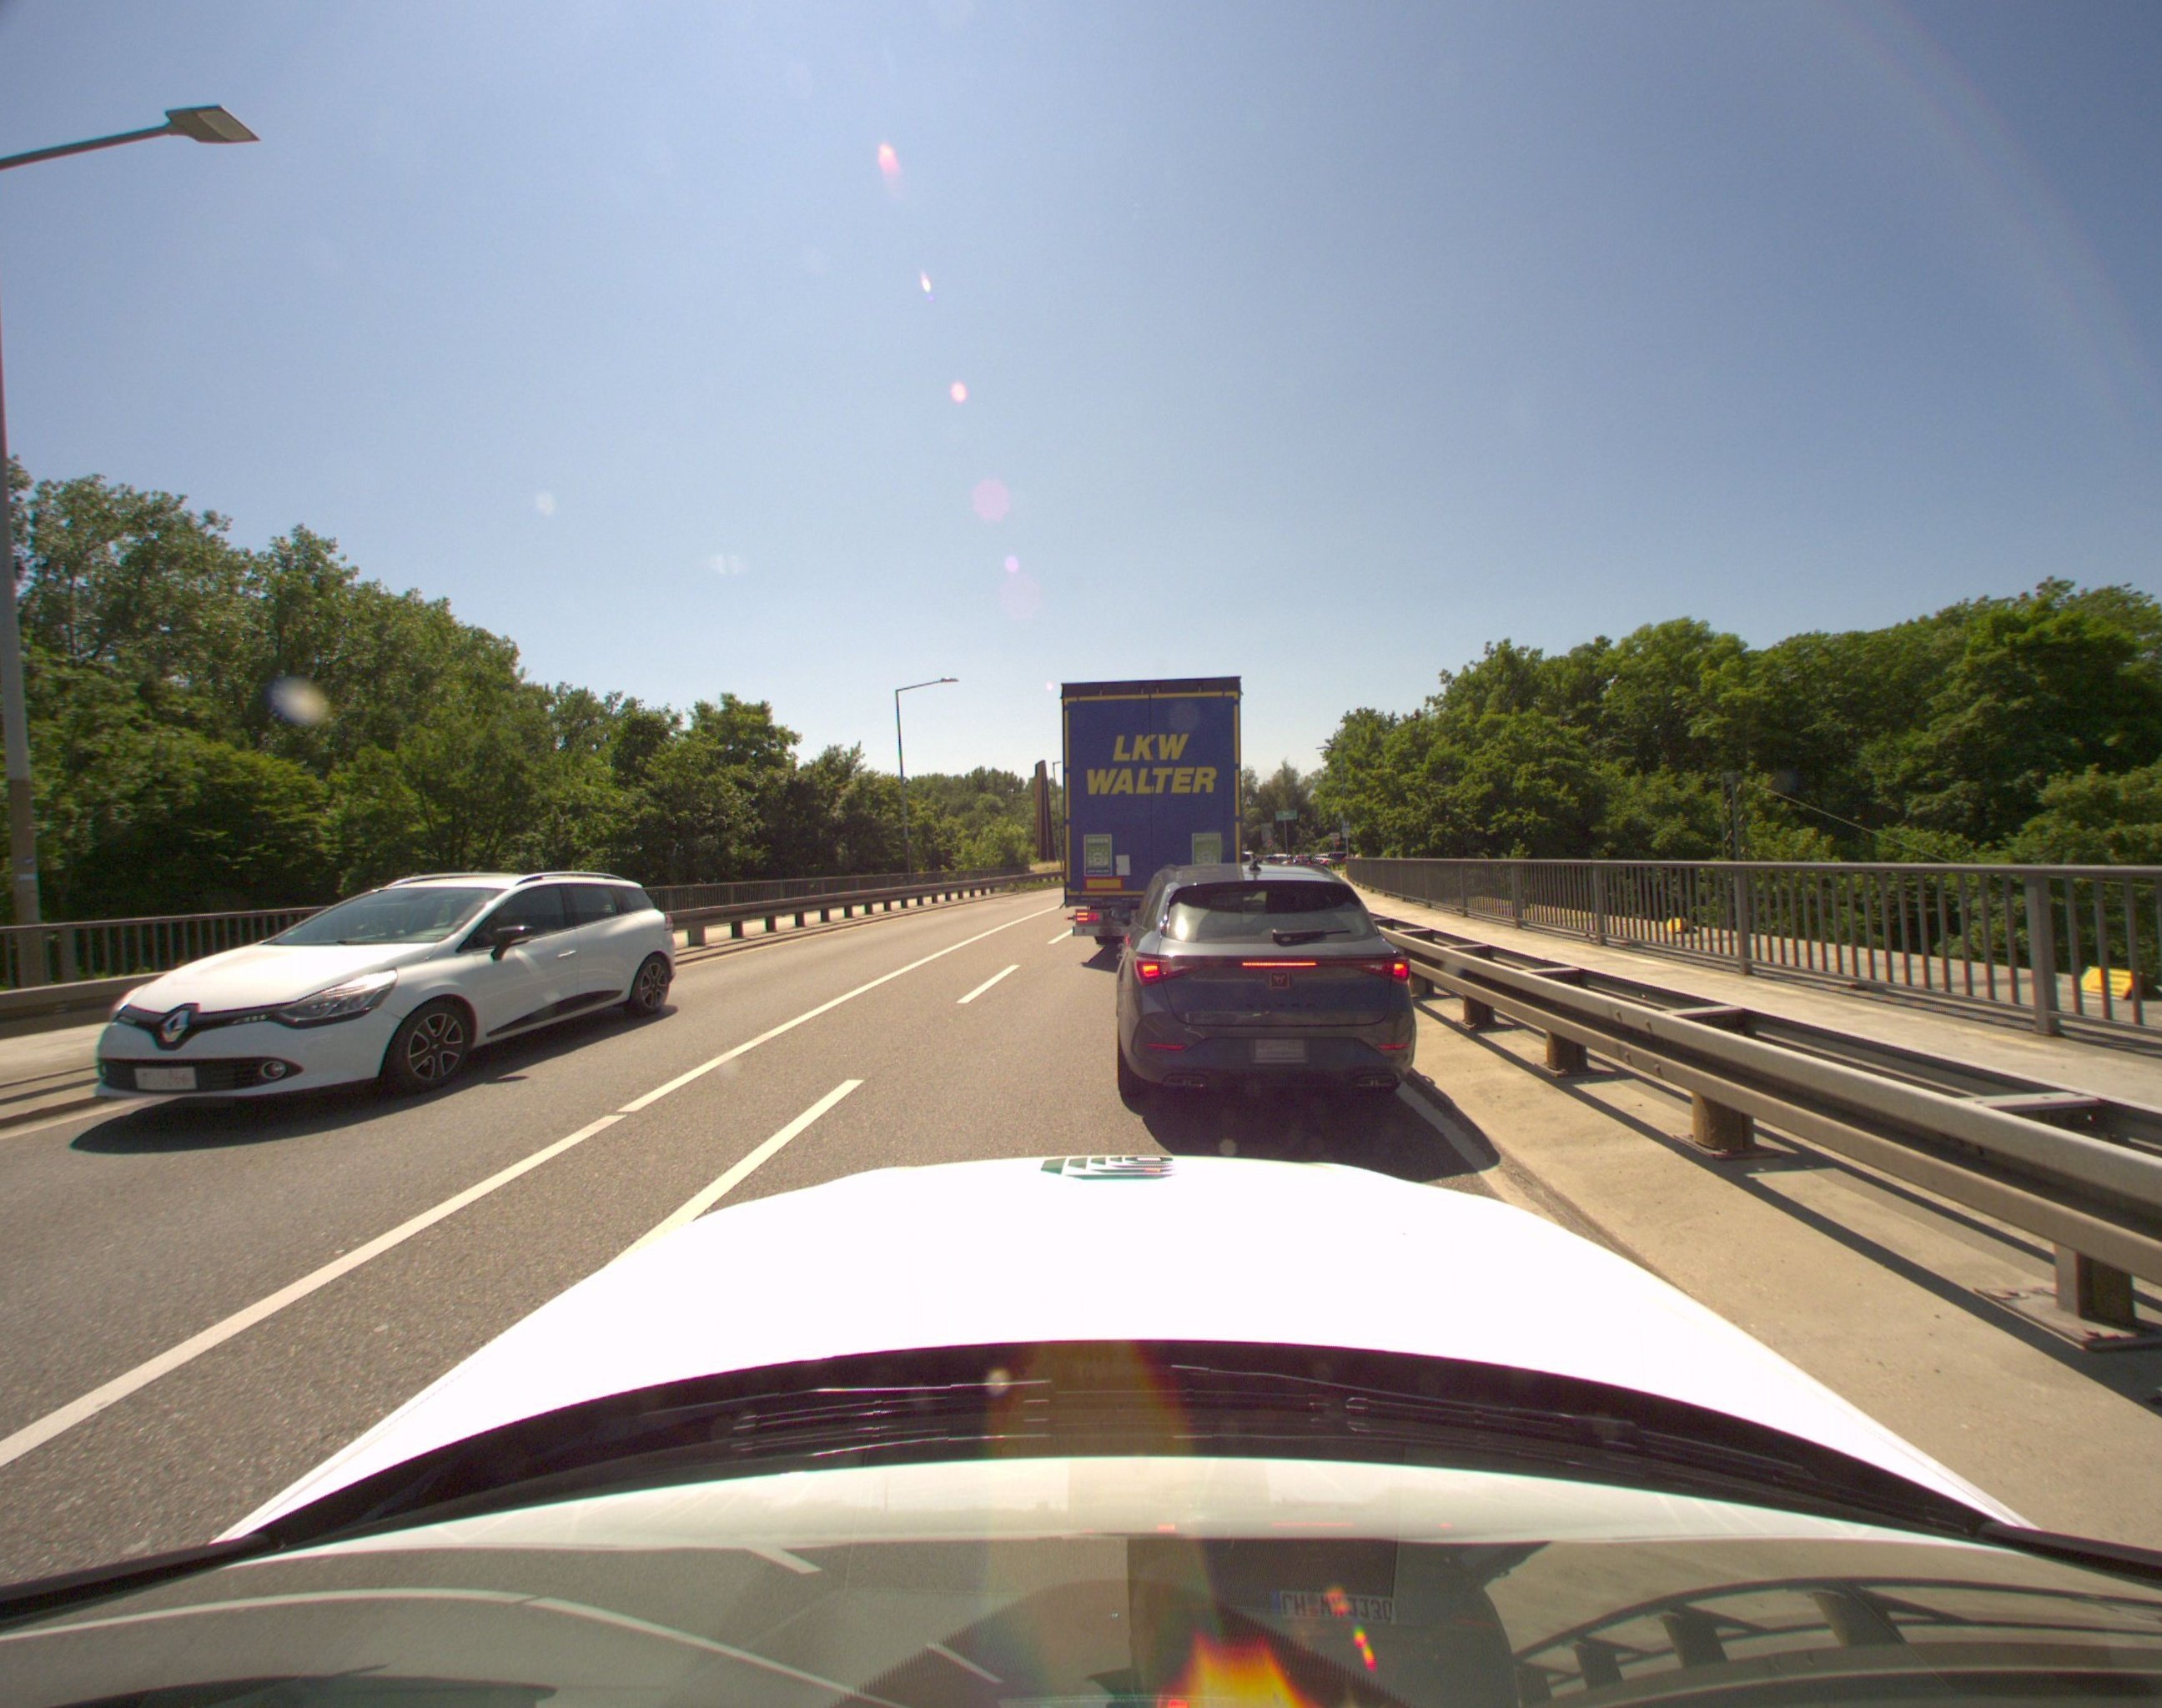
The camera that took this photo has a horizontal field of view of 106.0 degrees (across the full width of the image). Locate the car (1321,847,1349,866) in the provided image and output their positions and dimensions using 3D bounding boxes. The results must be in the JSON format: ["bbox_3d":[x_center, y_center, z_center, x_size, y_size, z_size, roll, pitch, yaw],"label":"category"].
[{"bbox_3d":[24.974,0.267,79.931,1.669,1.760,4.025,-2,-1,30],"label":"car"}]

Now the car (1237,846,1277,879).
[{"bbox_3d":[10.264,0.470,47.208,1.706,1.802,4.020,-1,0,20],"label":"car"}]

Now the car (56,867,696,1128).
[{"bbox_3d":[-5.095,0.874,6.781,1.592,1.449,4.060,-1,0,4],"label":"car"}]

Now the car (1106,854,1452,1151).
[{"bbox_3d":[1.122,0.751,6.031,1.669,1.456,3.963,-1,0,4],"label":"car"}]

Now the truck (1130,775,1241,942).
[{"bbox_3d":[3.345,0.134,25.101,2.887,4.418,6.573,-1,0,10],"label":"truck"}]

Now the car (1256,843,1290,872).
[{"bbox_3d":[12.997,0.229,55.027,1.706,1.844,4.021,-1,0,21],"label":"car"}]

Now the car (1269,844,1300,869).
[{"bbox_3d":[15.356,0.158,61.291,1.706,1.844,4.021,-1,0,21],"label":"car"}]

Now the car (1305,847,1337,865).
[{"bbox_3d":[21.860,0.192,74.027,1.975,1.575,4.024,0,-1,28],"label":"car"}]

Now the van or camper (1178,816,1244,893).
[{"bbox_3d":[5.497,0.011,33.623,2.139,2.815,6.411,-1,0,14],"label":"van or camper"}]

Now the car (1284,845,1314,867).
[{"bbox_3d":[18.220,0.190,67.879,1.670,1.760,4.023,-1,-1,25],"label":"car"}]

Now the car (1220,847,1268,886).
[{"bbox_3d":[8.235,0.589,40.934,1.706,1.844,4.020,-1,0,20],"label":"car"}]

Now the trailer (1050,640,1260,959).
[{"bbox_3d":[2.060,-0.752,17.653,2.887,4.418,12.466,-1,0,10],"label":"trailer"}]
